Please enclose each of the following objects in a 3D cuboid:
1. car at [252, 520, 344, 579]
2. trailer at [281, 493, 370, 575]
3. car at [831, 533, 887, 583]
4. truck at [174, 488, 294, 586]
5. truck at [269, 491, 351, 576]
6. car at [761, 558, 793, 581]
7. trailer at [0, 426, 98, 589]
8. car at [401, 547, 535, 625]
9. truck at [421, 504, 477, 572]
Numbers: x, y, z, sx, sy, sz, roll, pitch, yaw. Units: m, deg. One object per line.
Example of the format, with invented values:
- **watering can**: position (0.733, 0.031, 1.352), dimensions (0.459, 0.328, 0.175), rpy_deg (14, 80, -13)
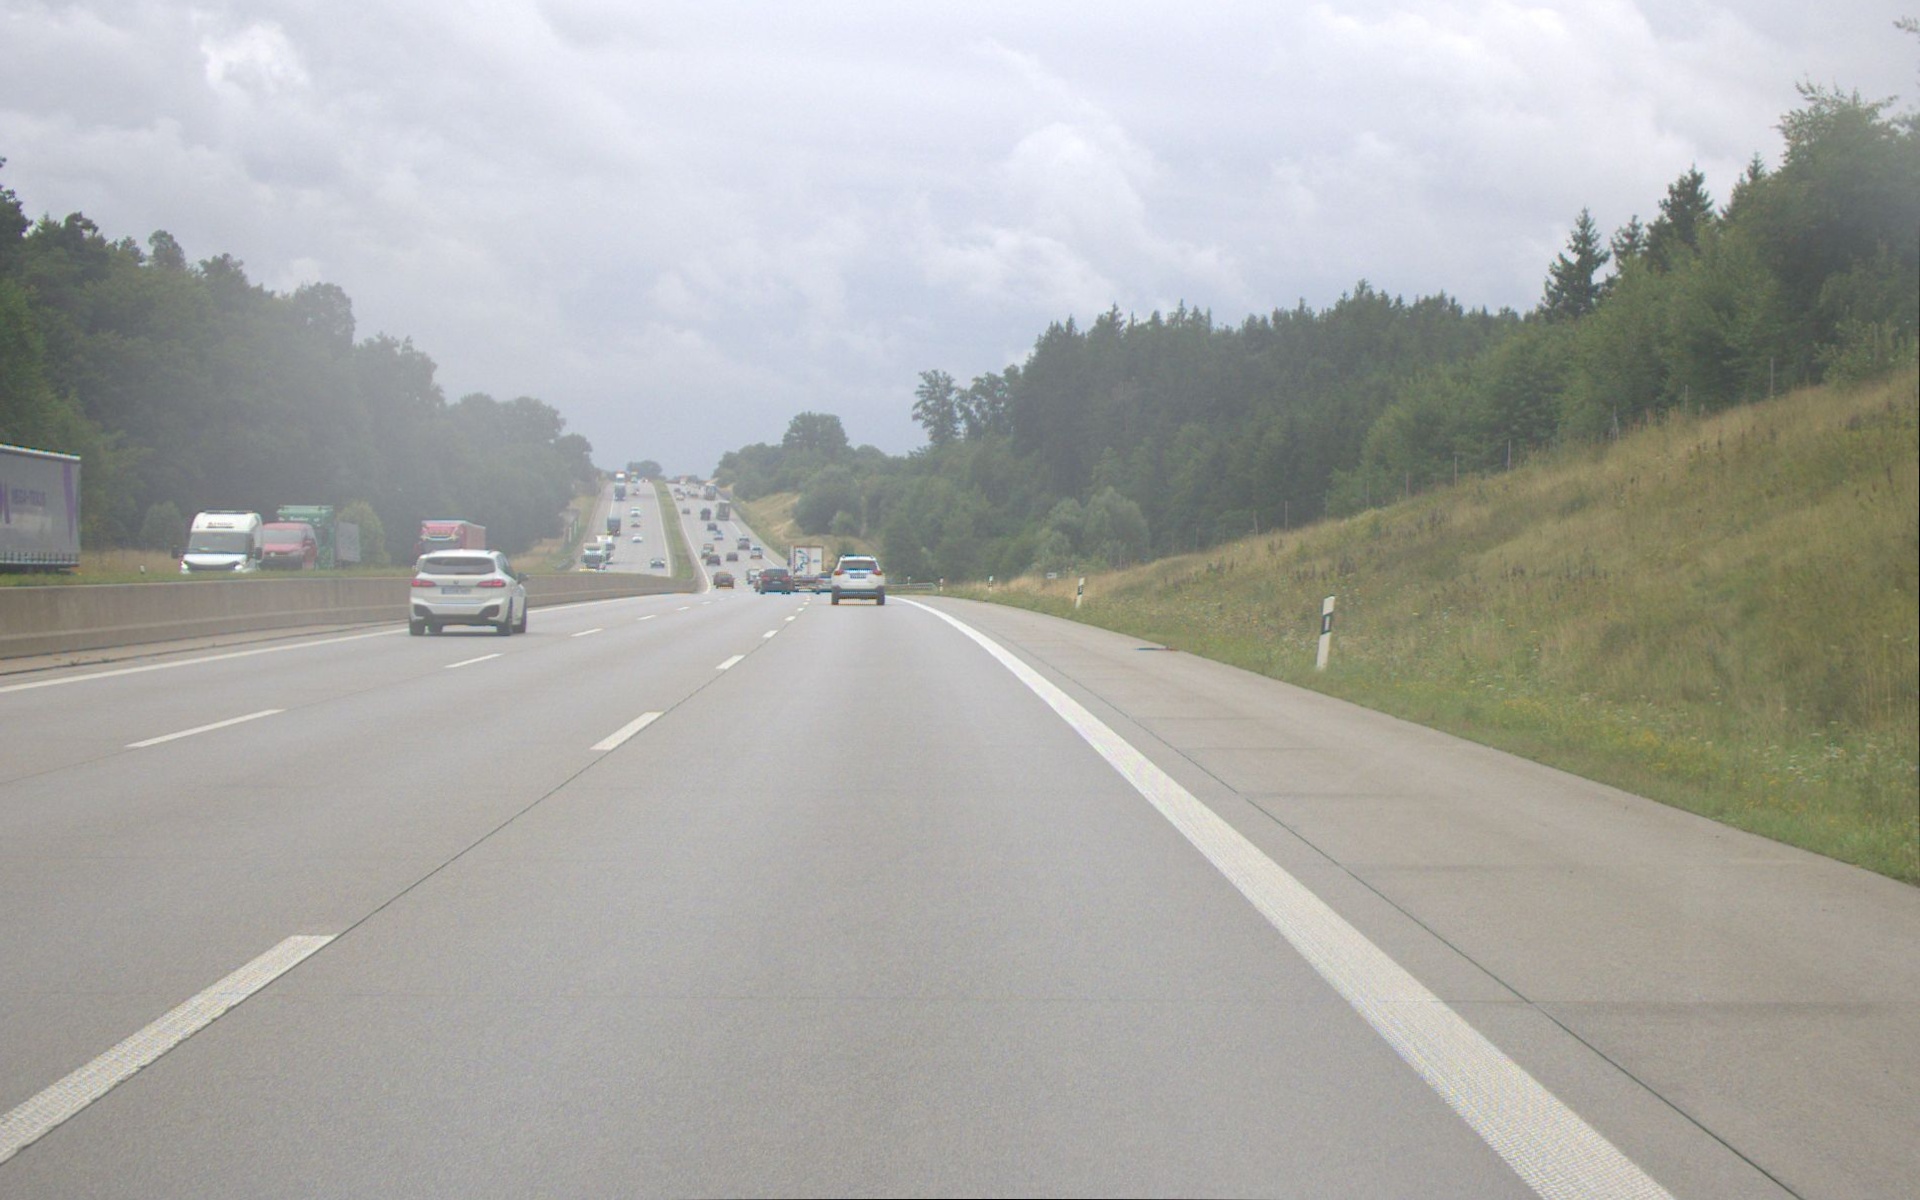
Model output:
- **car**: position (-21.742, -1.643, 113.045), dimensions (1.993, 1.875, 5.313), rpy_deg (1, 0, 0)
- **trailer**: position (-29.493, -3.052, 160.171), dimensions (2.803, 3.687, 9.013), rpy_deg (1, 1, -2)
- **car**: position (-3.444, -1.445, 117.318), dimensions (1.825, 1.650, 3.985), rpy_deg (1, 1, -2)
- **truck**: position (-21.660, -1.886, 102.851), dimensions (2.267, 2.778, 6.512), rpy_deg (2, 1, -1)
- **truck**: position (-29.286, -2.975, 155.016), dimensions (2.780, 3.727, 5.661), rpy_deg (1, 1, -2)
- **car**: position (-11.714, -1.953, 220.177), dimensions (1.935, 1.370, 4.595), rpy_deg (1, 1, -4)
- **trailer**: position (-25.352, -2.382, 89.676), dimensions (2.498, 4.089, 13.976), rpy_deg (1, 1, -1)
- **car**: position (-8.942, -0.269, 62.779), dimensions (1.947, 1.351, 4.260), rpy_deg (1, 1, -2)
- **truck**: position (-30.193, -3.636, 203.303), dimensions (2.553, 3.914, 6.948), rpy_deg (1, 1, -2)
